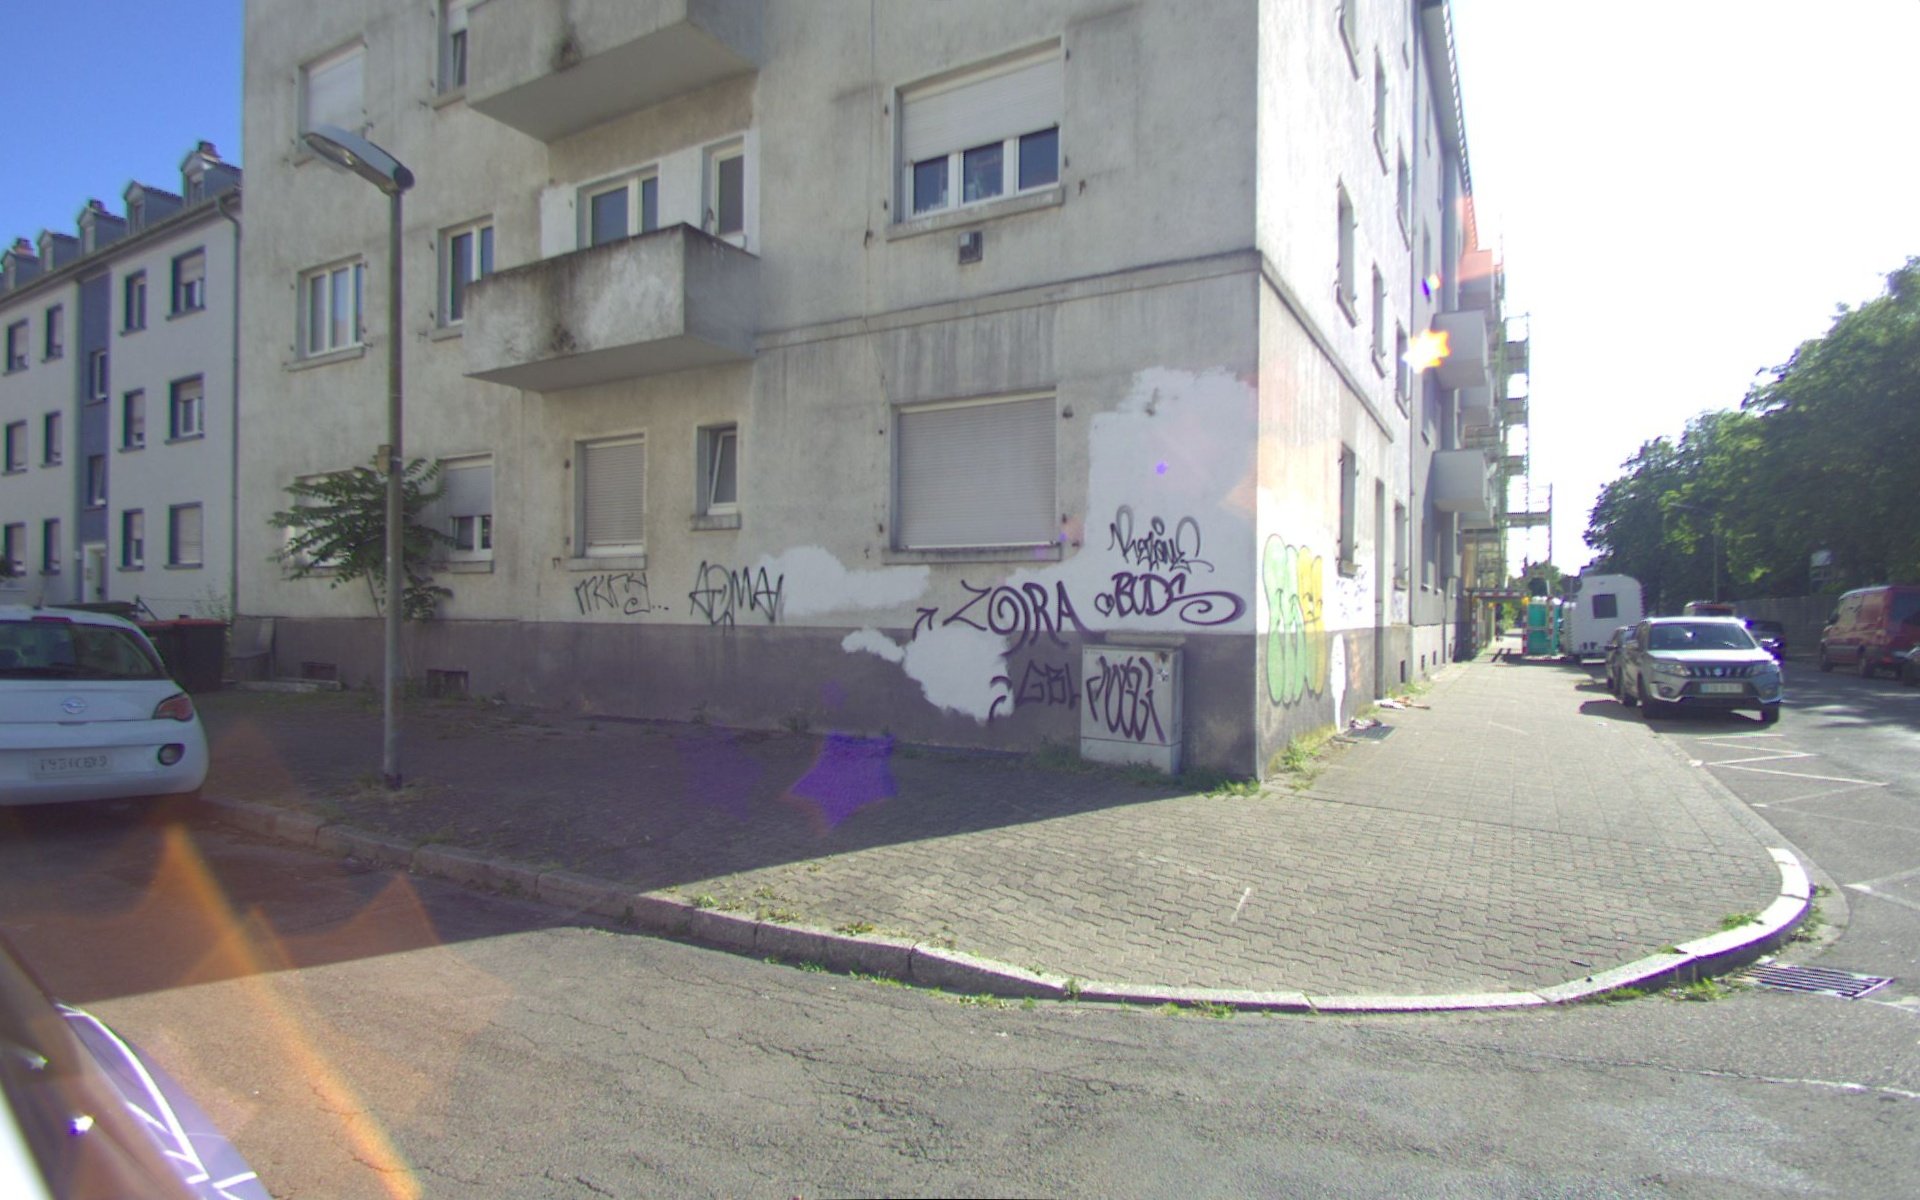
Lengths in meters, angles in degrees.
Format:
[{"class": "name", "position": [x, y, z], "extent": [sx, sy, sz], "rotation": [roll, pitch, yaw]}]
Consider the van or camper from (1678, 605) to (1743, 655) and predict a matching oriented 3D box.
[{"class": "van or camper", "position": [39.305, 1.520, 53.074], "extent": [2.117, 2.518, 3.962], "rotation": [0, -1, 28]}]

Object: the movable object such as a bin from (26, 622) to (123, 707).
[{"class": "movable object such as a bin", "position": [-12.030, 0.858, 13.756], "extent": [0.813, 1.087, 0.767], "rotation": [0, 0, 29]}]

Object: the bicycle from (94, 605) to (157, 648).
[{"class": "bicycle", "position": [-20.290, 0.633, 24.589], "extent": [2.067, 0.968, 0.495], "rotation": [0, 2, 31]}]

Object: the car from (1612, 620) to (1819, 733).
[{"class": "car", "position": [12.027, 1.111, 16.423], "extent": [2.061, 1.565, 3.962], "rotation": [-1, -1, 28]}]

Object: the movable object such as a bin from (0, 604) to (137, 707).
[{"class": "movable object such as a bin", "position": [-12.762, 0.752, 14.470], "extent": [1.040, 1.387, 1.247], "rotation": [0, 0, 29]}]

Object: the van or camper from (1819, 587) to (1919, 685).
[{"class": "van or camper", "position": [24.222, 0.881, 25.945], "extent": [2.203, 2.298, 5.260], "rotation": [-1, -1, 28]}]

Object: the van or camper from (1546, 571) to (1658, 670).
[{"class": "van or camper", "position": [22.704, 0.722, 36.088], "extent": [2.947, 3.204, 6.112], "rotation": [1, -1, 29]}]

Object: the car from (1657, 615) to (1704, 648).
[{"class": "car", "position": [46.818, 2.027, 65.818], "extent": [1.991, 2.029, 3.960], "rotation": [0, -1, 29]}]

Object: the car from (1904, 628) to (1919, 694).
[{"class": "car", "position": [21.181, 1.319, 20.748], "extent": [1.645, 1.427, 3.962], "rotation": [-1, -1, 28]}]

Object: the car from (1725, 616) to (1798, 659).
[{"class": "car", "position": [33.323, 1.520, 42.177], "extent": [1.645, 1.696, 3.962], "rotation": [0, -1, 28]}]

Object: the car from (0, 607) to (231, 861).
[{"class": "car", "position": [-6.980, 0.782, 7.089], "extent": [3.708, 1.470, 1.674], "rotation": [0, -3, 31]}]

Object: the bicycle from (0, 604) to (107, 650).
[{"class": "bicycle", "position": [-22.268, 0.635, 24.760], "extent": [0.498, 0.968, 2.054], "rotation": [0, 3, 30]}]

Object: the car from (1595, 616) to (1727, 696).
[{"class": "car", "position": [15.161, 1.131, 22.094], "extent": [1.869, 1.565, 3.962], "rotation": [-1, -1, 28]}]
